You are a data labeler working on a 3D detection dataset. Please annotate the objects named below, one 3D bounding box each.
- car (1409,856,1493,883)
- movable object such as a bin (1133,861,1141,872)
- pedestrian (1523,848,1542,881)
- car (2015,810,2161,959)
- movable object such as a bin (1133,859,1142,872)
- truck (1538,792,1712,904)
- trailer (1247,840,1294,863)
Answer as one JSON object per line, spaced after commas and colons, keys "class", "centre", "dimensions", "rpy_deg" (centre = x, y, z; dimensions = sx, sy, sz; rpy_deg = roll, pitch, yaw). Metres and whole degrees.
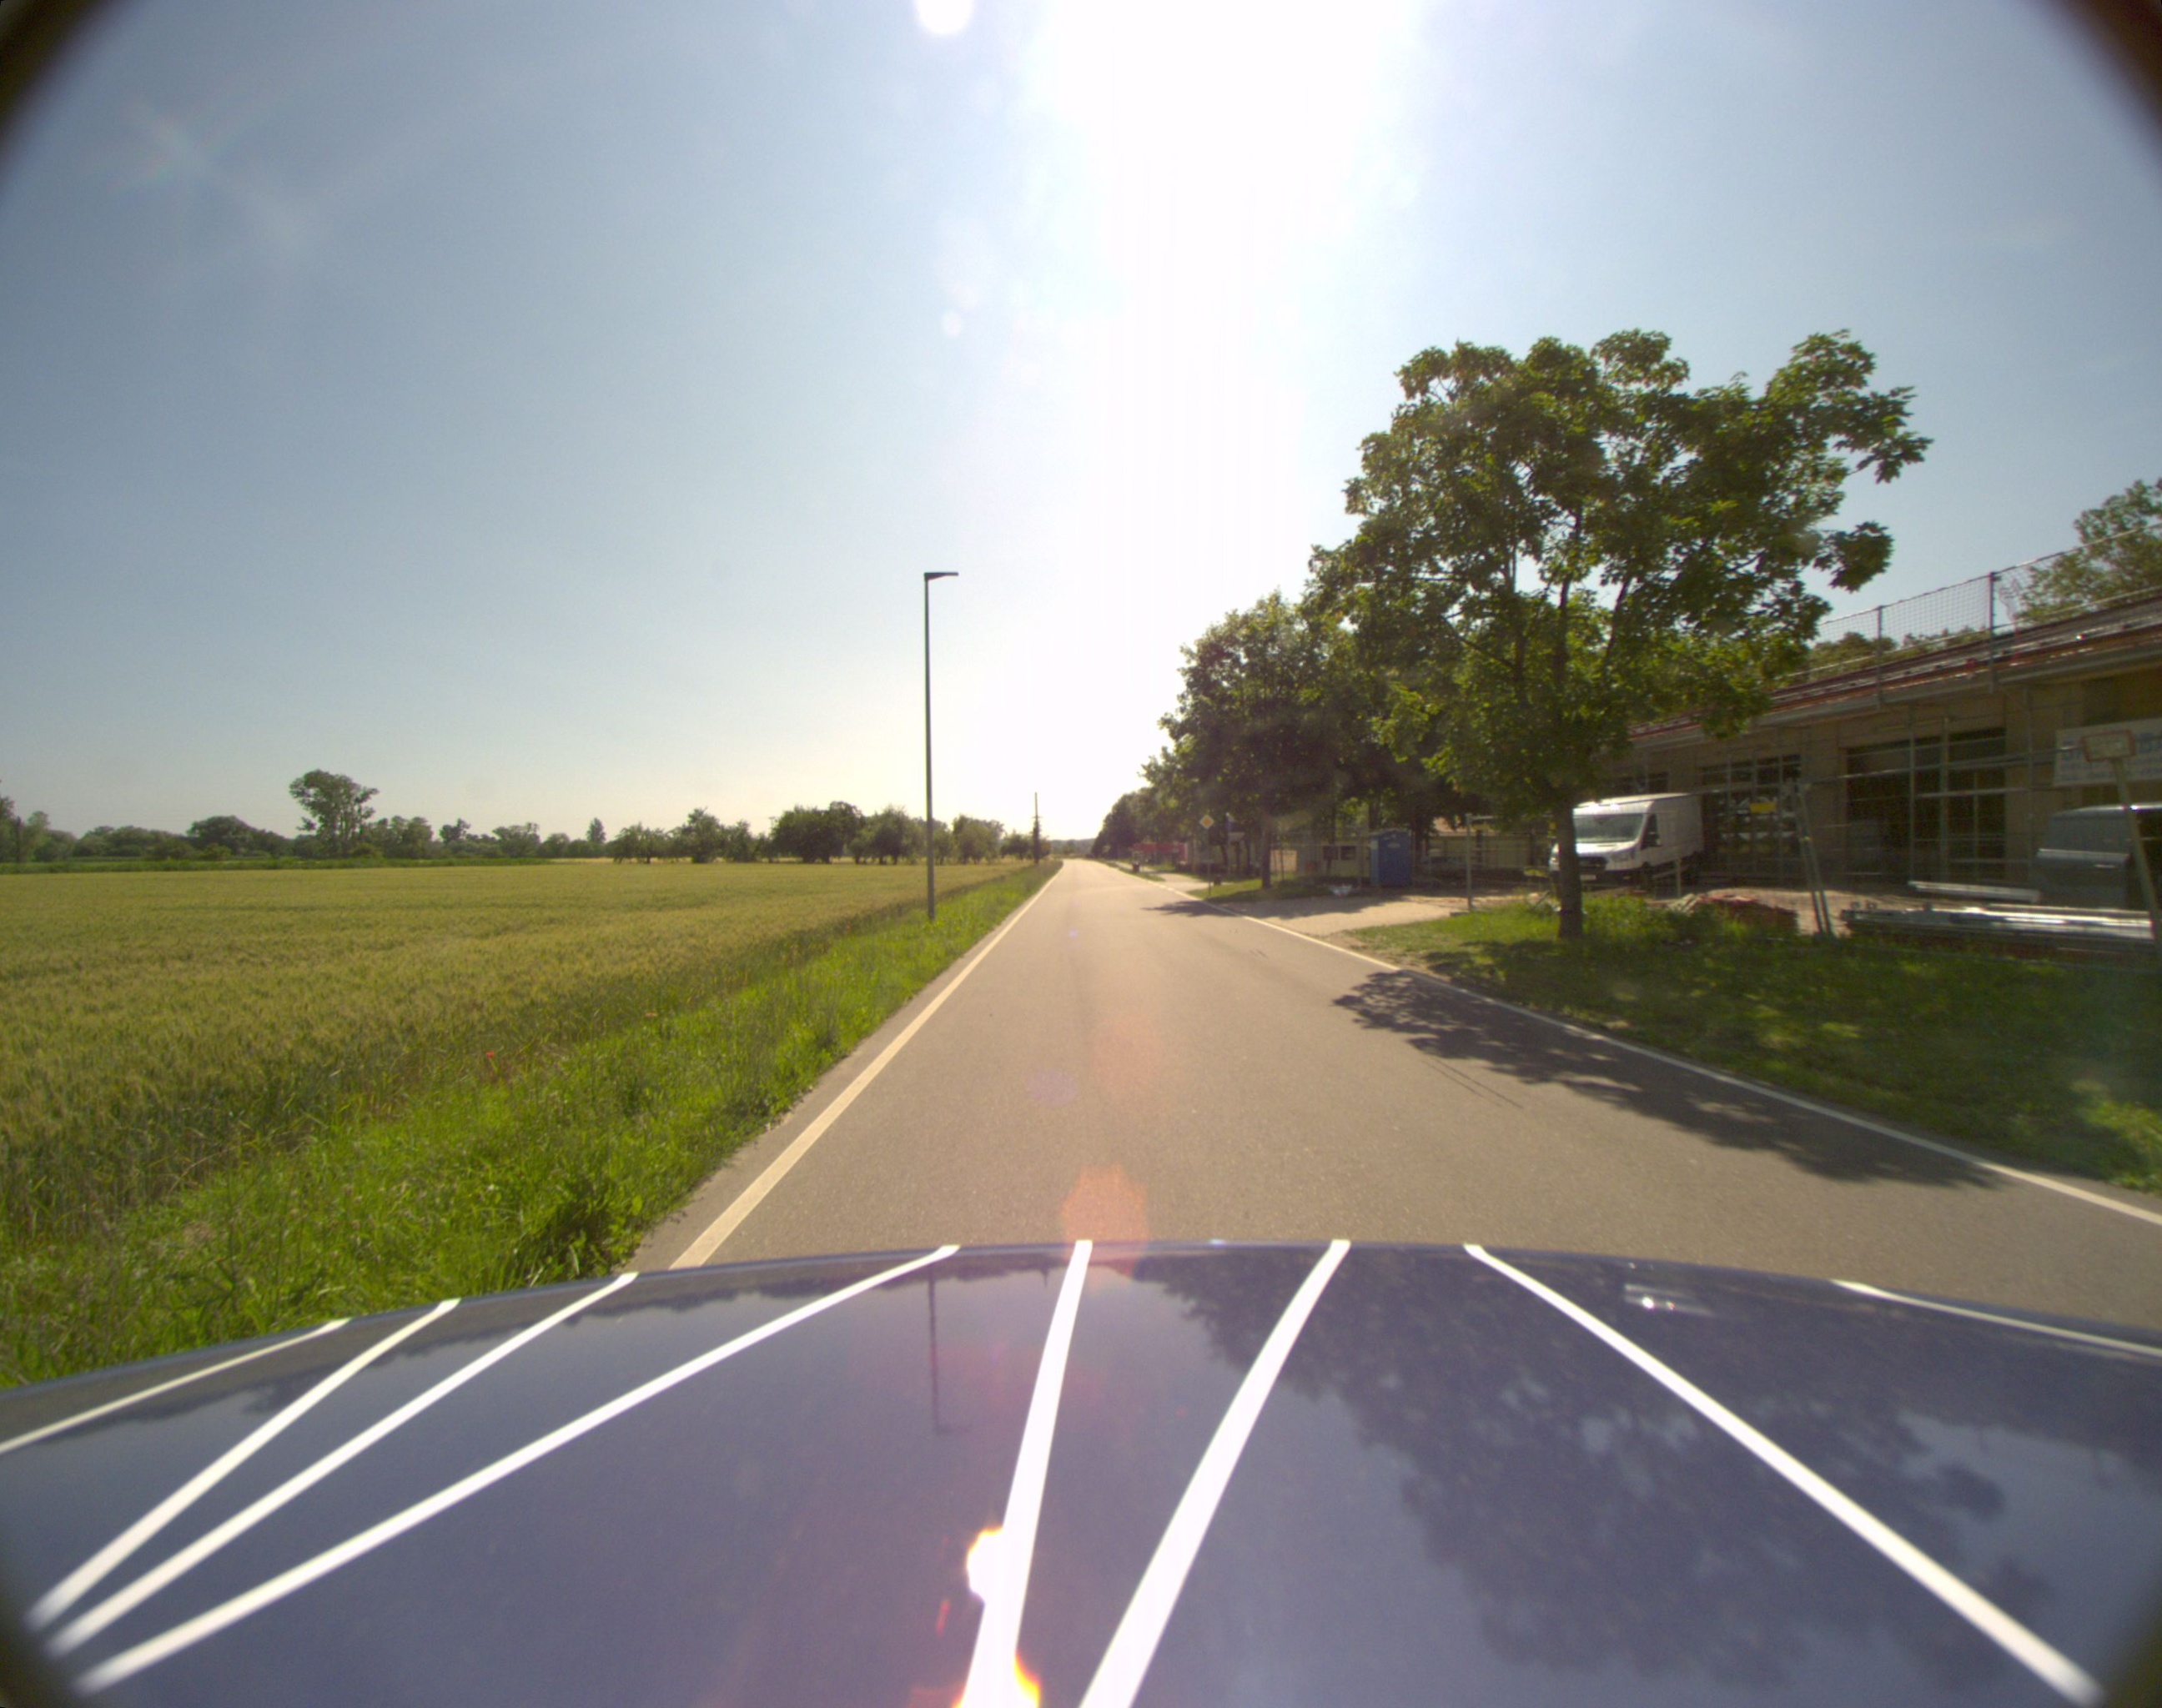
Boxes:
{"class": "car", "centre": [20.386, 0.836, 41.938], "dimensions": [3.812, 1.391, 1.758], "rpy_deg": [0, 0, -8]}
{"class": "movable object such as a bin", "centre": [4.466, 1.010, 60.745], "dimensions": [0.563, 0.872, 0.614], "rpy_deg": [0, 1, 7]}
{"class": "pedestrian", "centre": [24.406, 0.553, 41.084], "dimensions": [0.605, 1.741, 0.586], "rpy_deg": [0, 1, -10]}
{"class": "car", "centre": [14.245, 0.358, 8.612], "dimensions": [1.975, 1.827, 4.328], "rpy_deg": [-1, 0, -1]}
{"class": "movable object such as a bin", "centre": [4.569, 0.927, 61.444], "dimensions": [0.700, 1.018, 0.748], "rpy_deg": [0, 1, 7]}
{"class": "truck", "centre": [14.481, -0.261, 20.056], "dimensions": [5.941, 2.470, 1.995], "rpy_deg": [-5, 2, -37]}
{"class": "trailer", "centre": [19.339, -0.255, 77.612], "dimensions": [4.239, 2.264, 1.826], "rpy_deg": [0, 1, -14]}
